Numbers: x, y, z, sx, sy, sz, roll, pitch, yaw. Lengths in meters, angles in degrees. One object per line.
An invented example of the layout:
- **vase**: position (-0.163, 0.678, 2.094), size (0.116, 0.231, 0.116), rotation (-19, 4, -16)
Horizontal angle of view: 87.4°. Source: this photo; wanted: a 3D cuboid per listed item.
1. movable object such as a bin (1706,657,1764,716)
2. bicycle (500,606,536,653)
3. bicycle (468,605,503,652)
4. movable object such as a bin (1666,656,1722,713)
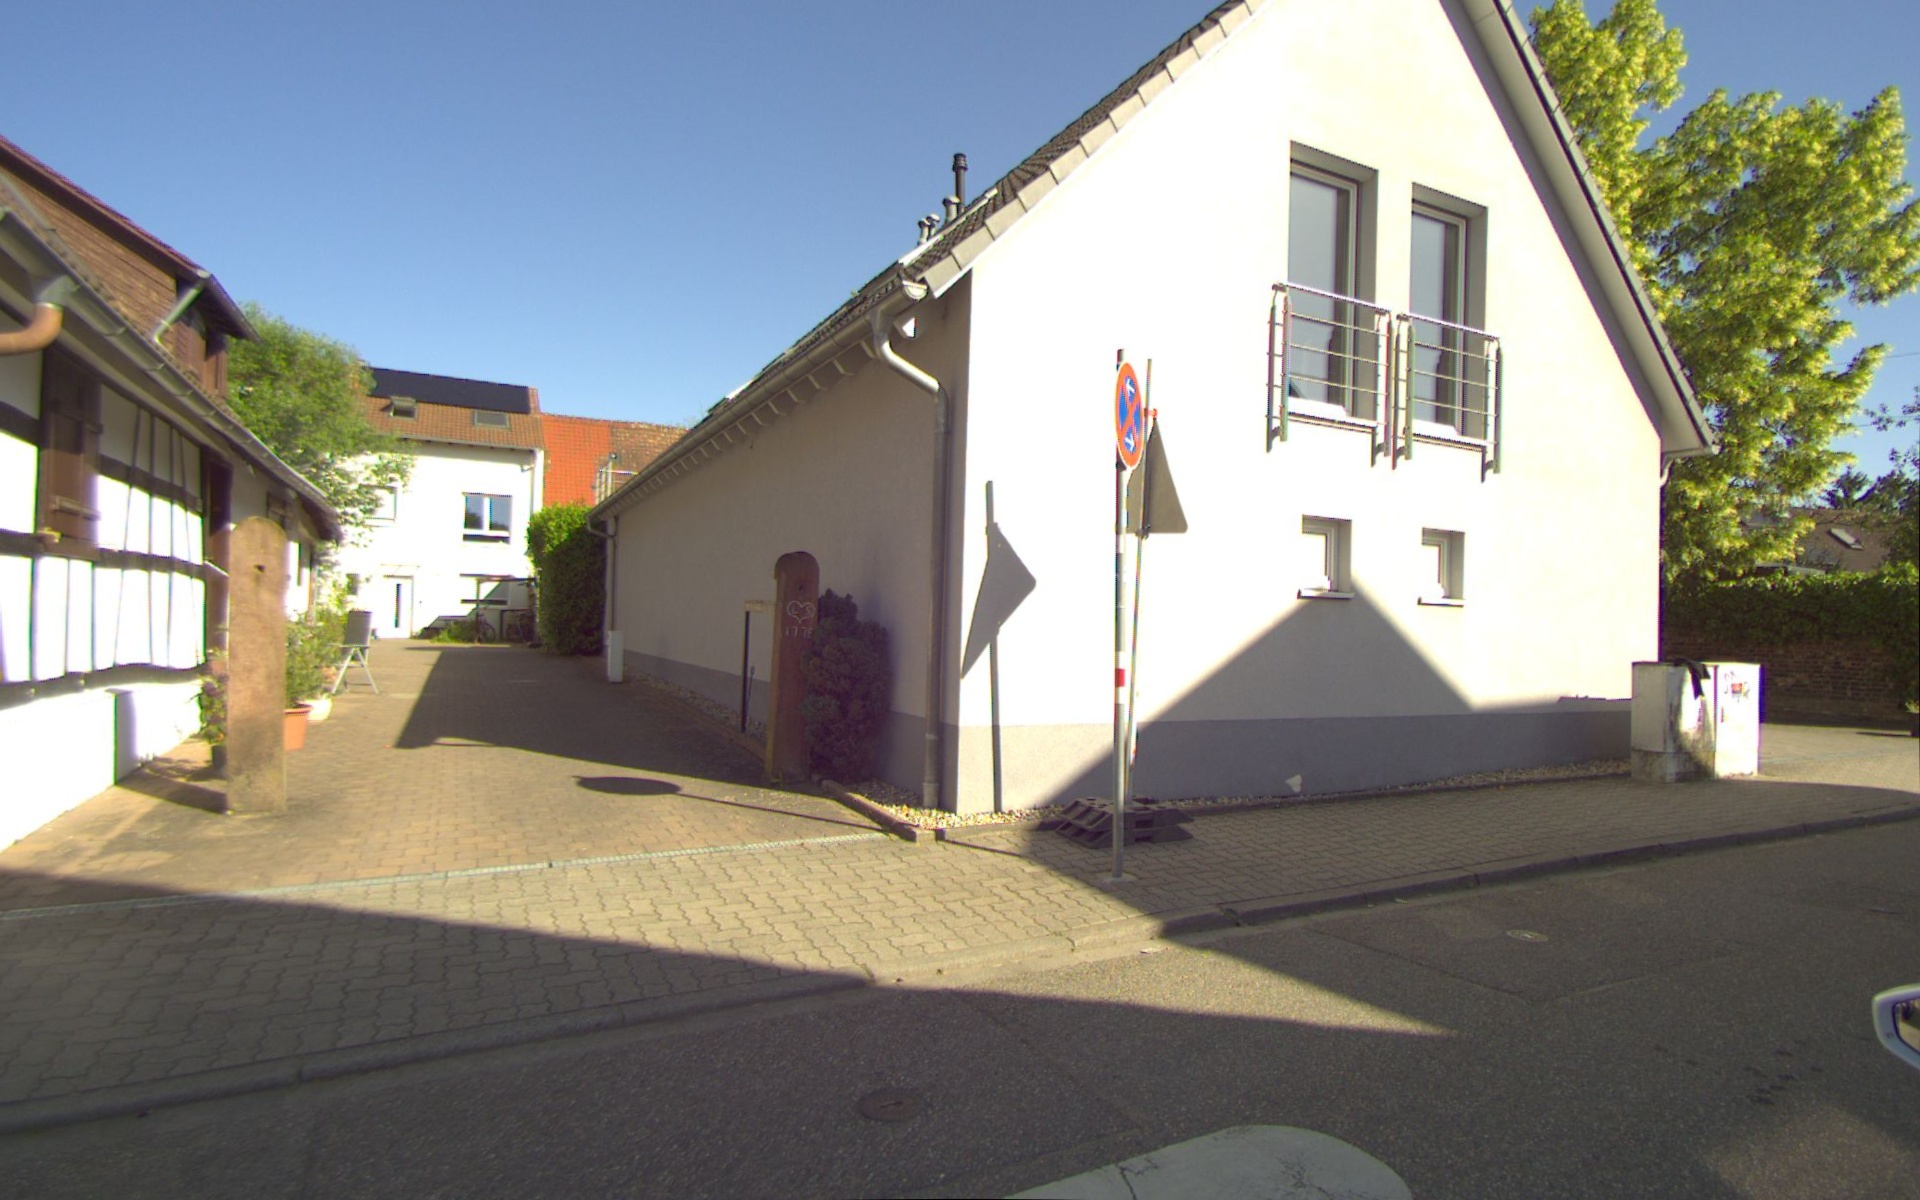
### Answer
- **movable object such as a bin**: position (13.012, 1.442, 16.865), size (0.500, 0.946, 0.589), rotation (3, -1, -22)
- **bicycle**: position (-14.779, 0.966, 33.559), size (0.769, 1.363, 2.537), rotation (3, 1, -30)
- **bicycle**: position (-15.601, 0.924, 32.979), size (0.769, 1.363, 2.537), rotation (3, 1, -30)
- **movable object such as a bin**: position (12.726, 1.456, 17.420), size (0.500, 0.946, 0.589), rotation (3, -1, -22)
